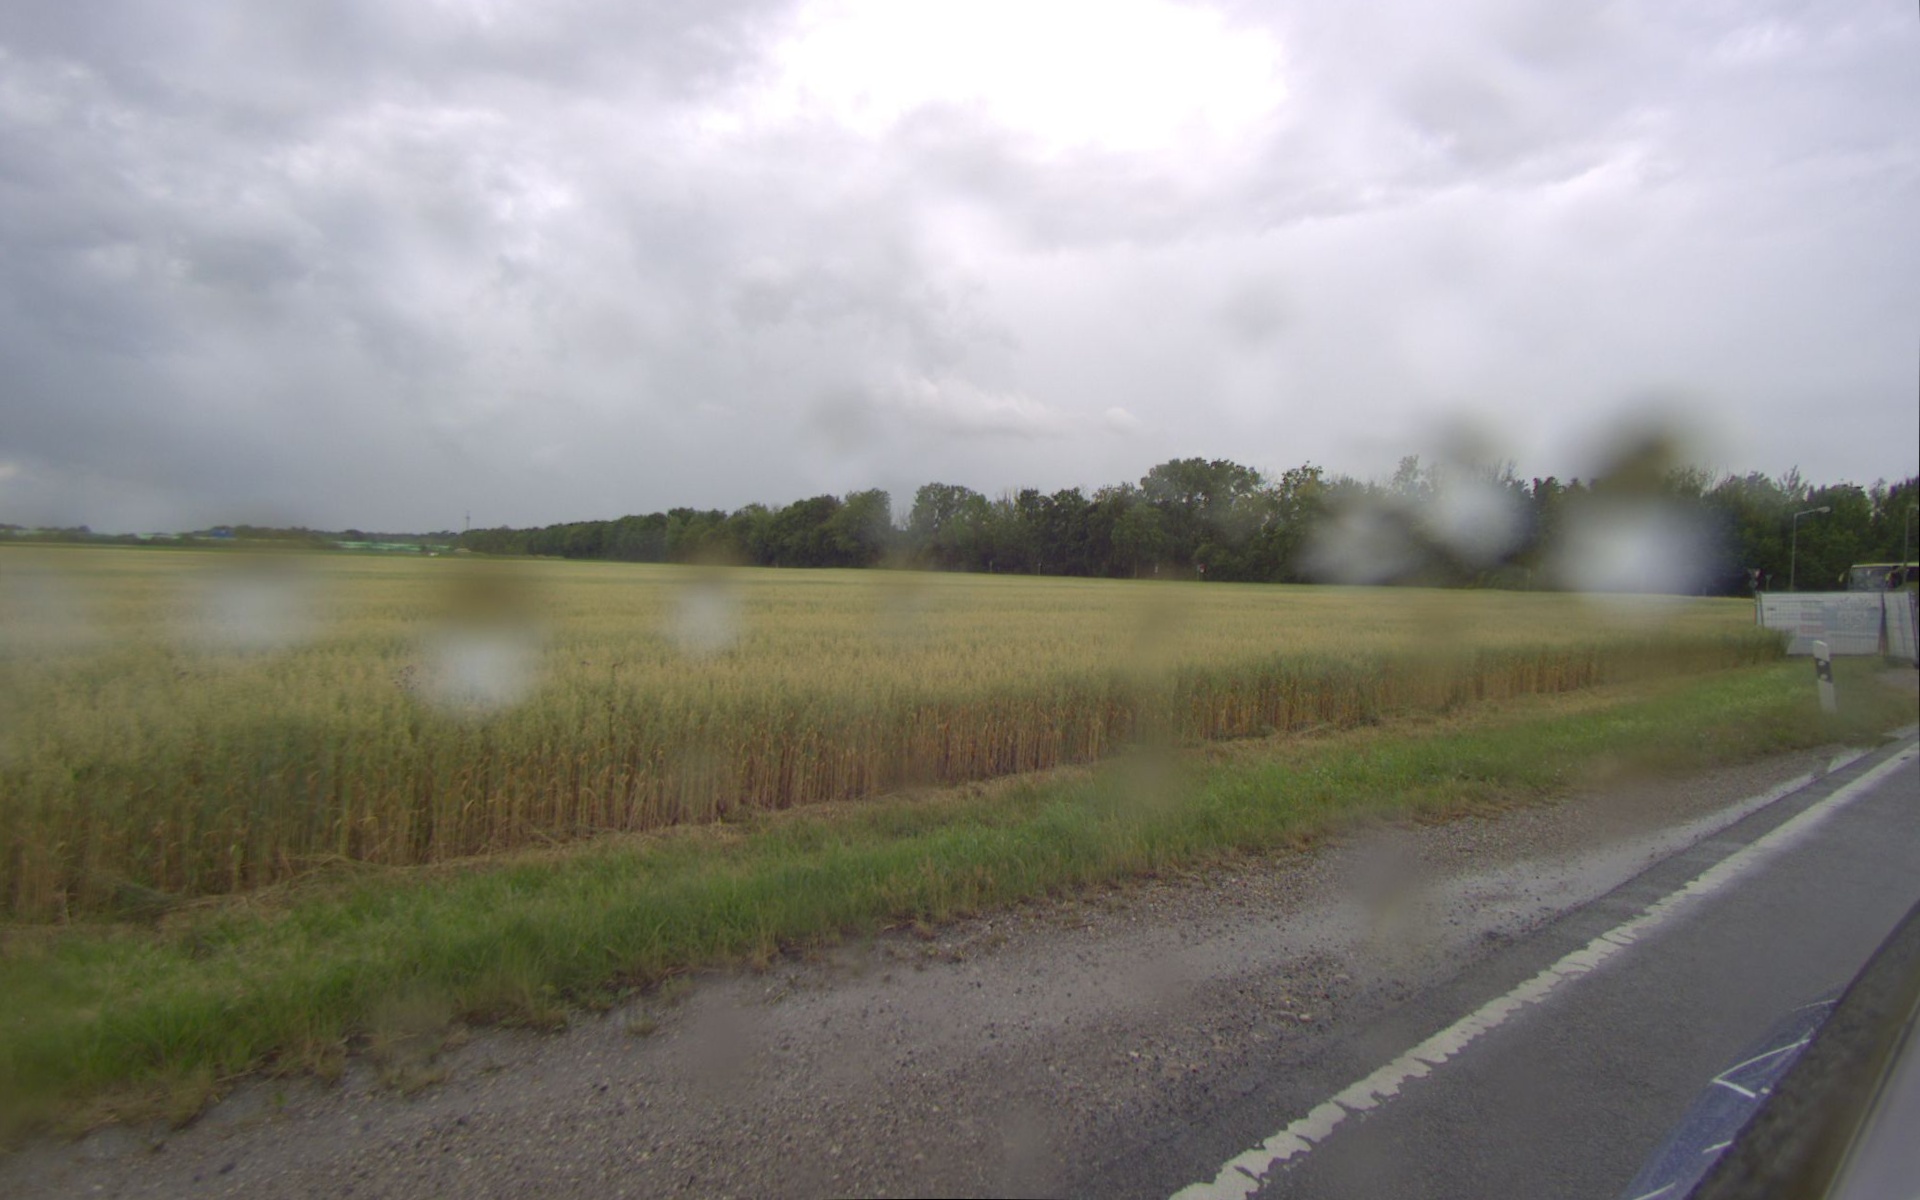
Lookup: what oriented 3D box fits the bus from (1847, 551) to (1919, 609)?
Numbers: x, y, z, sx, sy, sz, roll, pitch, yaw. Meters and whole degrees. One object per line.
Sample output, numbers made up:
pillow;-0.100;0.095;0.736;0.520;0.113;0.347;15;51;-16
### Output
bus;68.190;-1.298;70.388;13.992;3.731;3.006;1;2;-19
